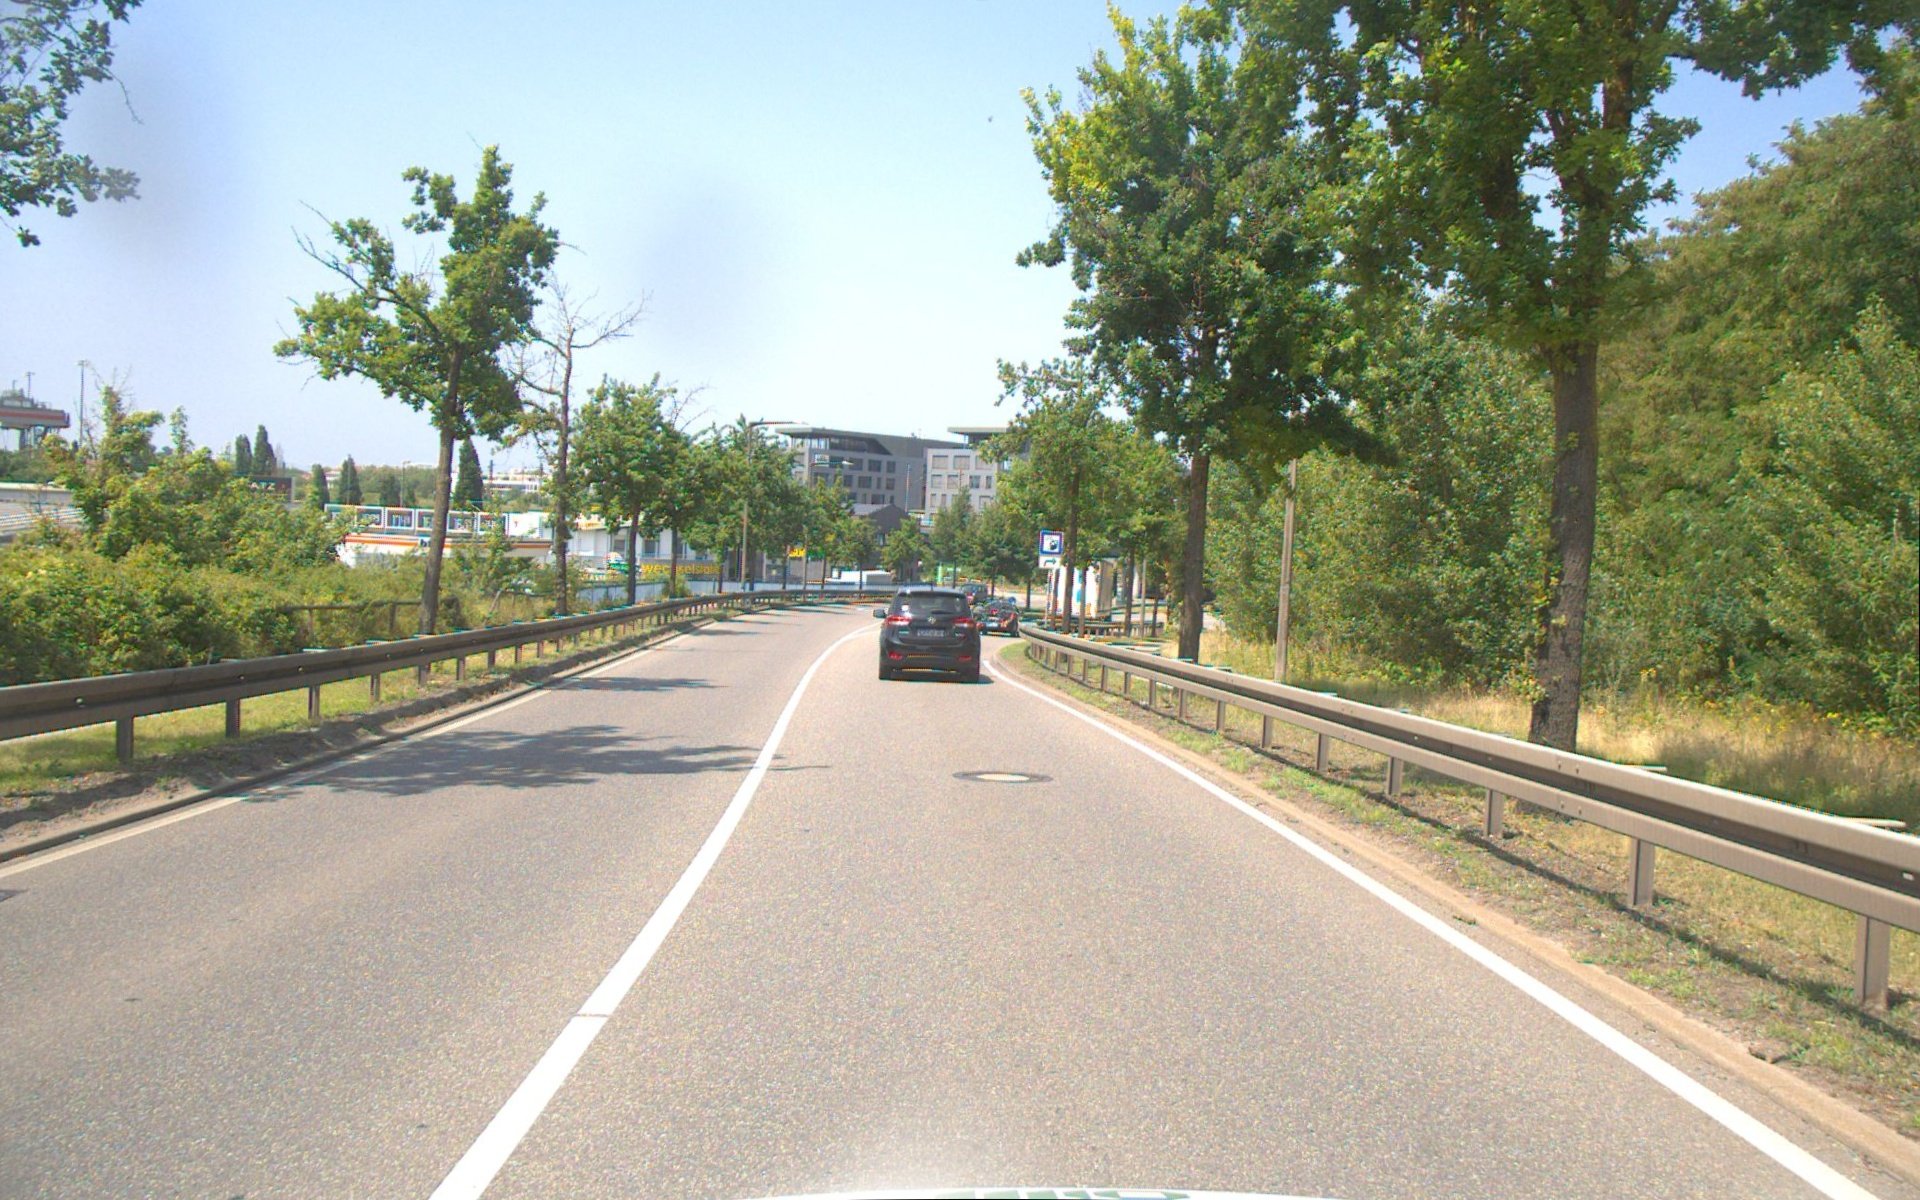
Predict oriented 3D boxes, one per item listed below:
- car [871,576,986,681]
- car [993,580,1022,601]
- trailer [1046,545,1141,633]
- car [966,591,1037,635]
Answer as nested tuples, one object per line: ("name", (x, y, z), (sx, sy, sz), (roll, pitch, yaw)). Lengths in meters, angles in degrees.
("car", (-0.631, 0.452, 29.491), (1.733, 1.627, 4.074), (3, 1, -5))
("car", (4.549, -0.888, 157.393), (1.769, 1.789, 4.255), (4, 0, 14))
("trailer", (7.785, -0.731, 94.042), (3.013, 4.443, 14.788), (3, 2, 13))
("car", (1.732, 0.522, 68.115), (1.915, 1.662, 4.283), (2, 0, 15))
